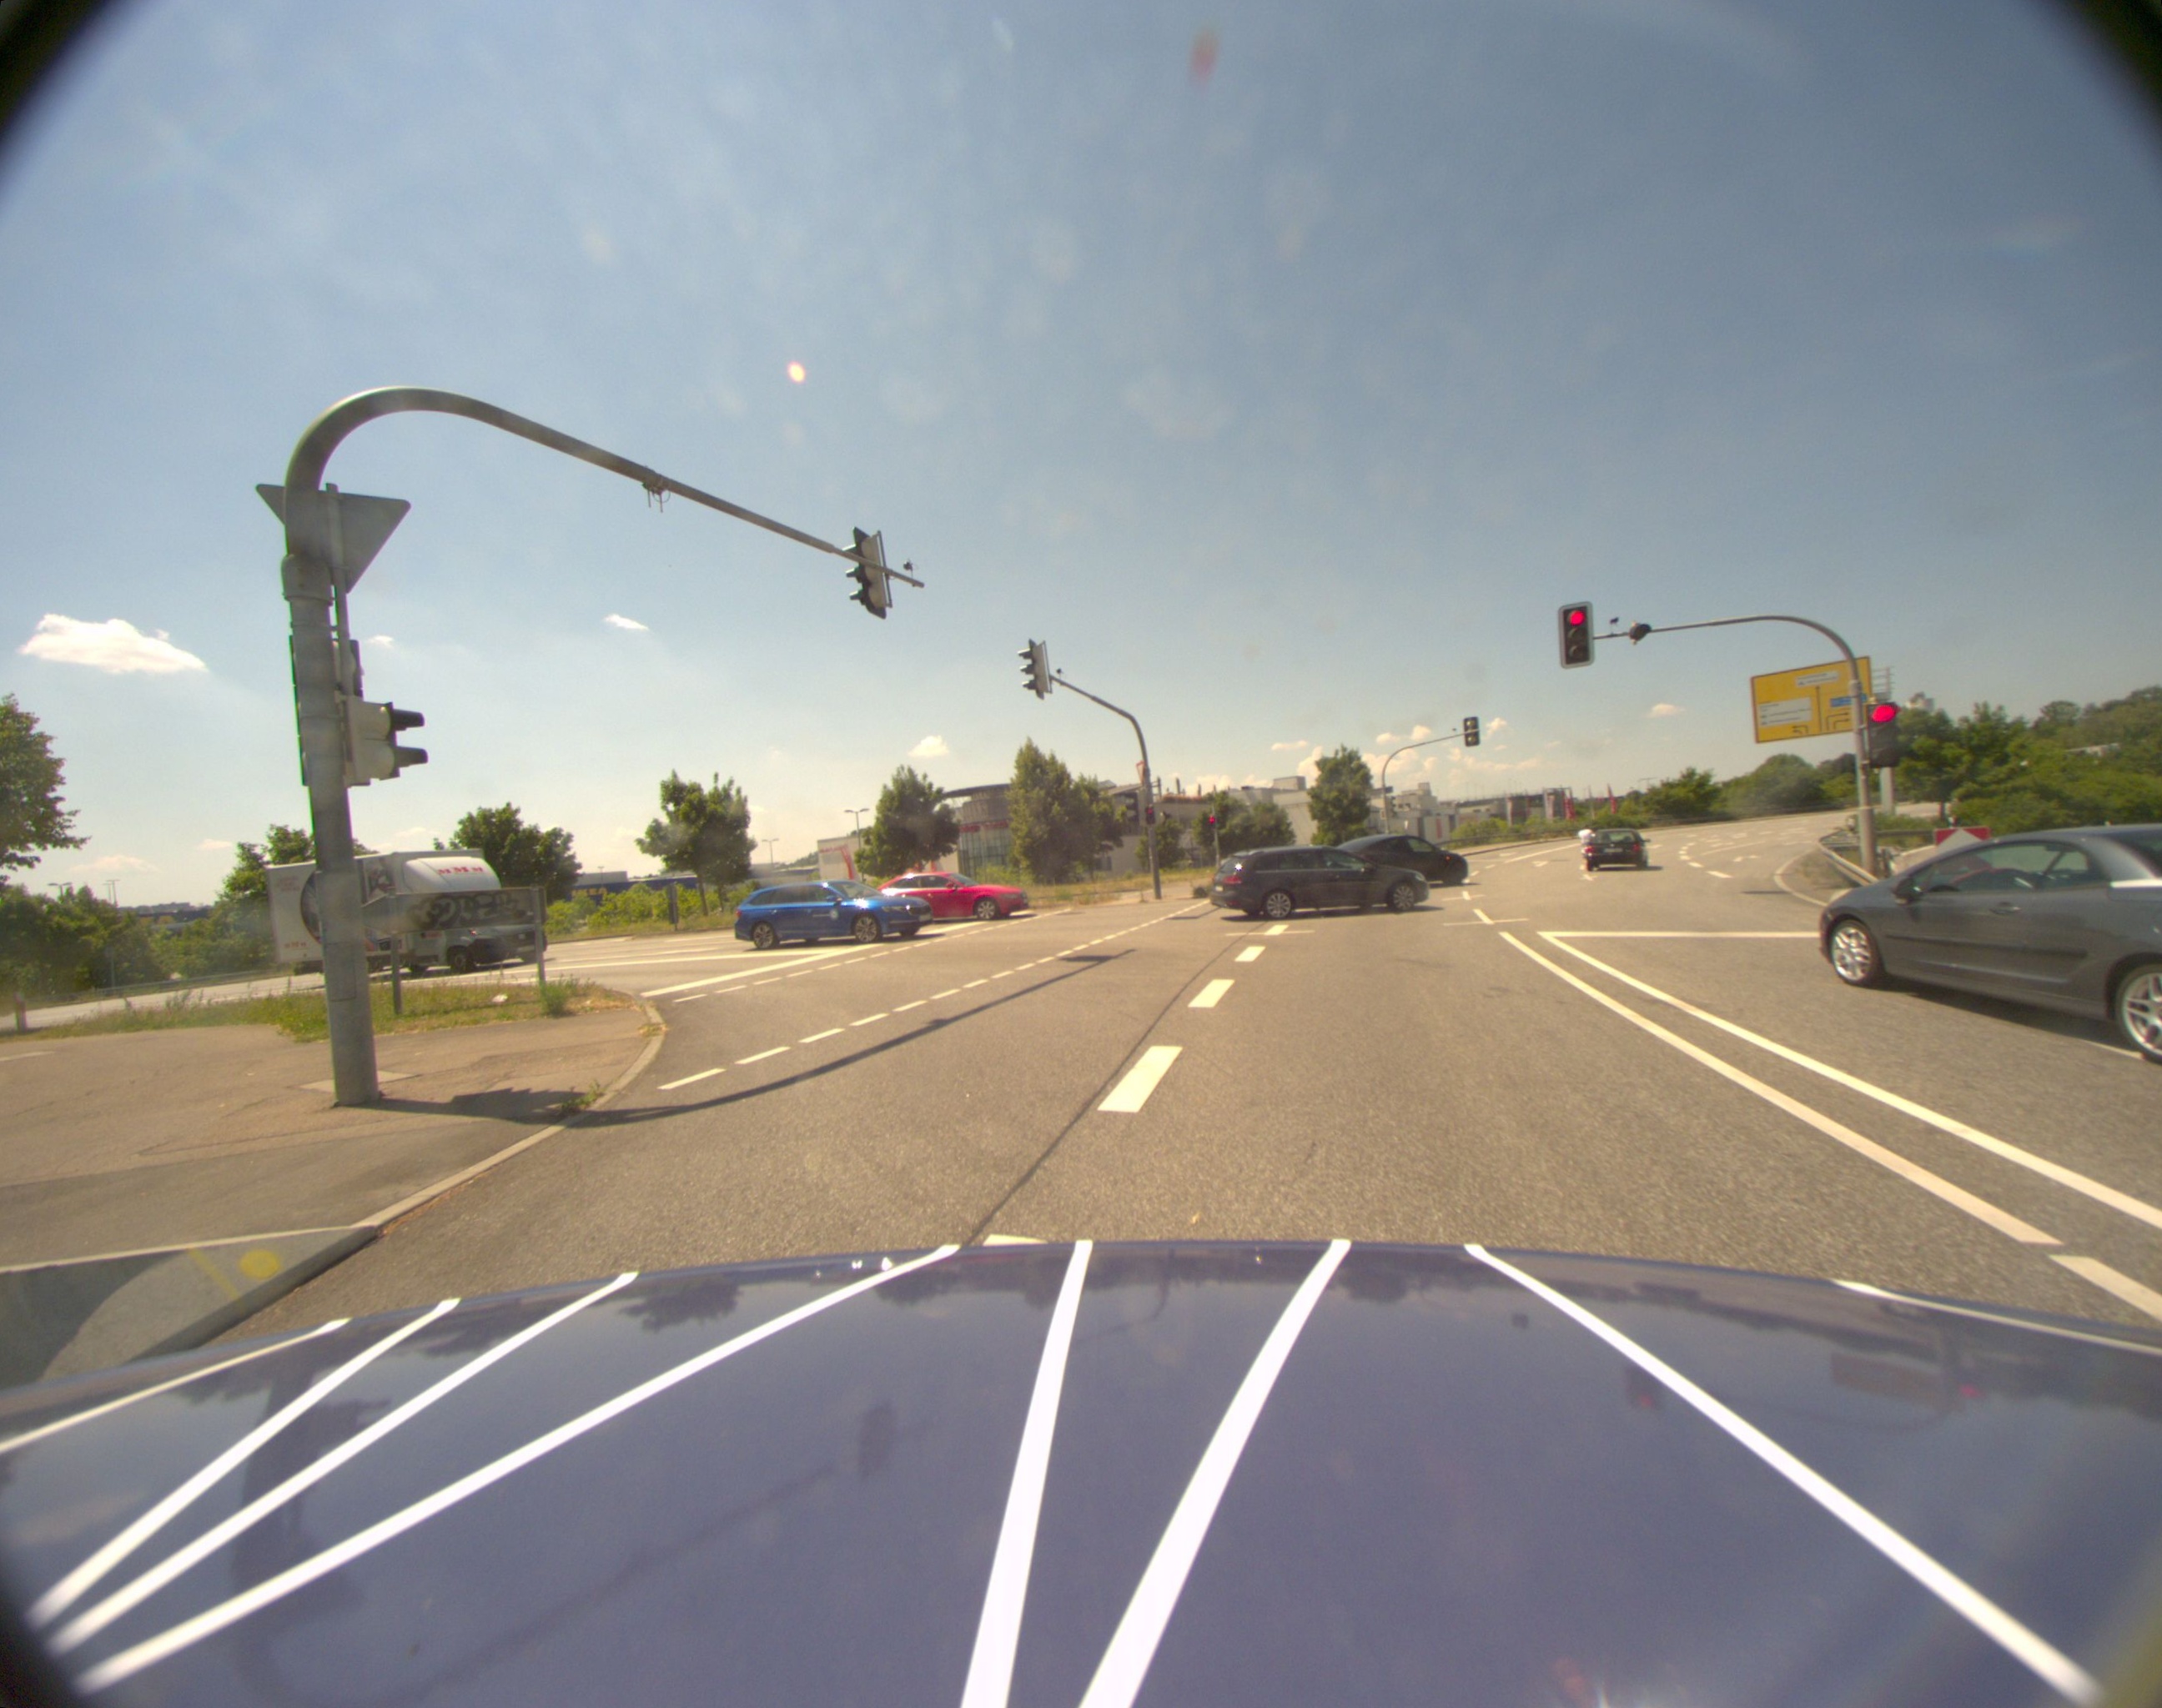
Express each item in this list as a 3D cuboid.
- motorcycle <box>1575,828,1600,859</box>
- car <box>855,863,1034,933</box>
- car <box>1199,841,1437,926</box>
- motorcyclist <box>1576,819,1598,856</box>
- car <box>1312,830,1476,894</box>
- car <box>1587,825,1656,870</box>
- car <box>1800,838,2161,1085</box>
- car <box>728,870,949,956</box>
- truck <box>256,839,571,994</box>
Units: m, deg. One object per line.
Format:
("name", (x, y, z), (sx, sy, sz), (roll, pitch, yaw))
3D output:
("motorcycle", (21.733, -0.449, 32.599), (0.576, 1.231, 1.944), (-3, 1, 42))
("car", (-3.715, 1.207, 20.983), (4.443, 1.380, 1.667), (-6, 2, 10))
("car", (4.903, 0.568, 16.103), (4.427, 1.474, 1.783), (-3, 1, -4))
("motorcyclist", (21.670, -0.707, 32.533), (0.611, 1.531, 0.848), (-3, 1, 42))
("car", (9.323, 0.178, 22.614), (4.510, 1.592, 1.877), (-3, 2, -24))
("car", (18.838, -0.246, 26.436), (1.620, 1.399, 3.307), (-2, 1, 41))
("car", (7.223, 0.586, 5.258), (1.648, 1.344, 3.973), (-2, 0, 17))
("car", (-5.448, 1.325, 17.094), (4.480, 1.454, 1.715), (-5, 2, 19))
("truck", (-18.217, 1.683, 20.849), (7.191, 3.329, 2.417), (-6, 2, 13))
